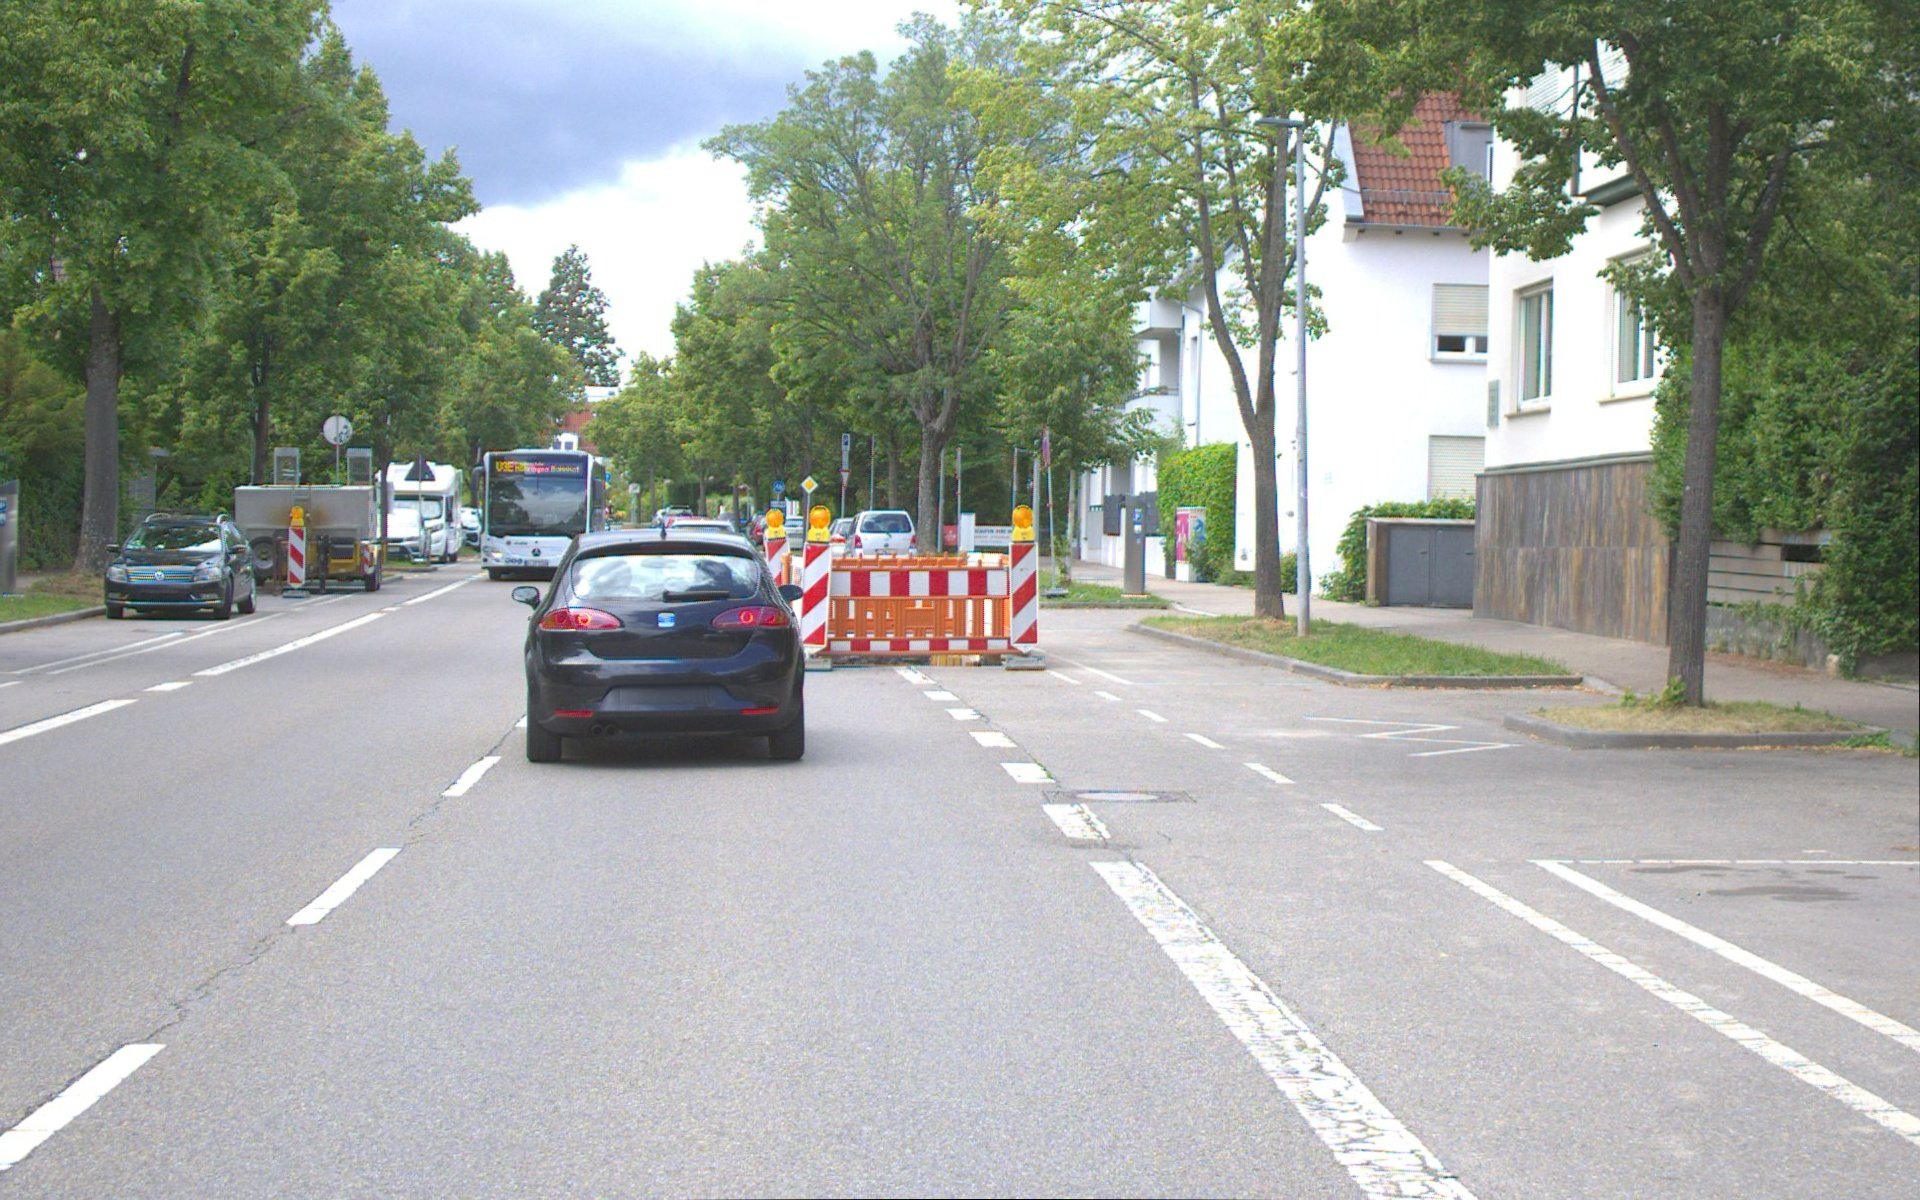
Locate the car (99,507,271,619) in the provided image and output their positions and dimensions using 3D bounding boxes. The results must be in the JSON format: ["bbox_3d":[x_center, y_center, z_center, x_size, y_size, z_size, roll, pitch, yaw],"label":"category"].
[{"bbox_3d":[-11.467,-0.516,51.131,1.860,1.548,4.620,1,0,-5],"label":"car"}]

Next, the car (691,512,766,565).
[{"bbox_3d":[-6.884,-1.832,102.099,1.993,1.525,4.001,0,1,-7],"label":"car"}]

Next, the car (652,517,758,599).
[{"bbox_3d":[-5.020,-0.855,68.083,1.993,1.552,4.001,1,1,-3],"label":"car"}]

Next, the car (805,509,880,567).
[{"bbox_3d":[-3.119,-1.648,90.504,1.687,1.488,4.228,0,1,-6],"label":"car"}]

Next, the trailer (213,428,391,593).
[{"bbox_3d":[-12.549,-1.686,66.074,2.673,2.931,7.477,1,1,-6],"label":"trailer"}]

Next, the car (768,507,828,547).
[{"bbox_3d":[-6.069,-2.731,128.296,2.020,1.438,5.026,1,1,-5],"label":"car"}]

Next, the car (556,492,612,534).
[{"bbox_3d":[-15.140,-3.510,138.558,1.993,1.662,4.590,-1,2,-4],"label":"car"}]

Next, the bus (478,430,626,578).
[{"bbox_3d":[-10.091,-2.296,86.602,2.804,3.277,18.048,1,1,-4],"label":"bus"}]

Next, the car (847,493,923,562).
[{"bbox_3d":[-1.866,-1.792,84.802,1.632,1.660,3.649,0,1,-5],"label":"car"}]

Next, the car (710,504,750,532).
[{"bbox_3d":[-12.278,-4.389,183.269,1.682,1.427,4.046,0,2,-10],"label":"car"}]

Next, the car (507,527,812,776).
[{"bbox_3d":[-1.949,0.273,22.295,1.783,1.444,3.559,1,1,-5],"label":"car"}]

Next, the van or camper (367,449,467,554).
[{"bbox_3d":[-16.283,-2.951,103.444,2.435,2.999,7.695,0,1,-5],"label":"van or camper"}]
